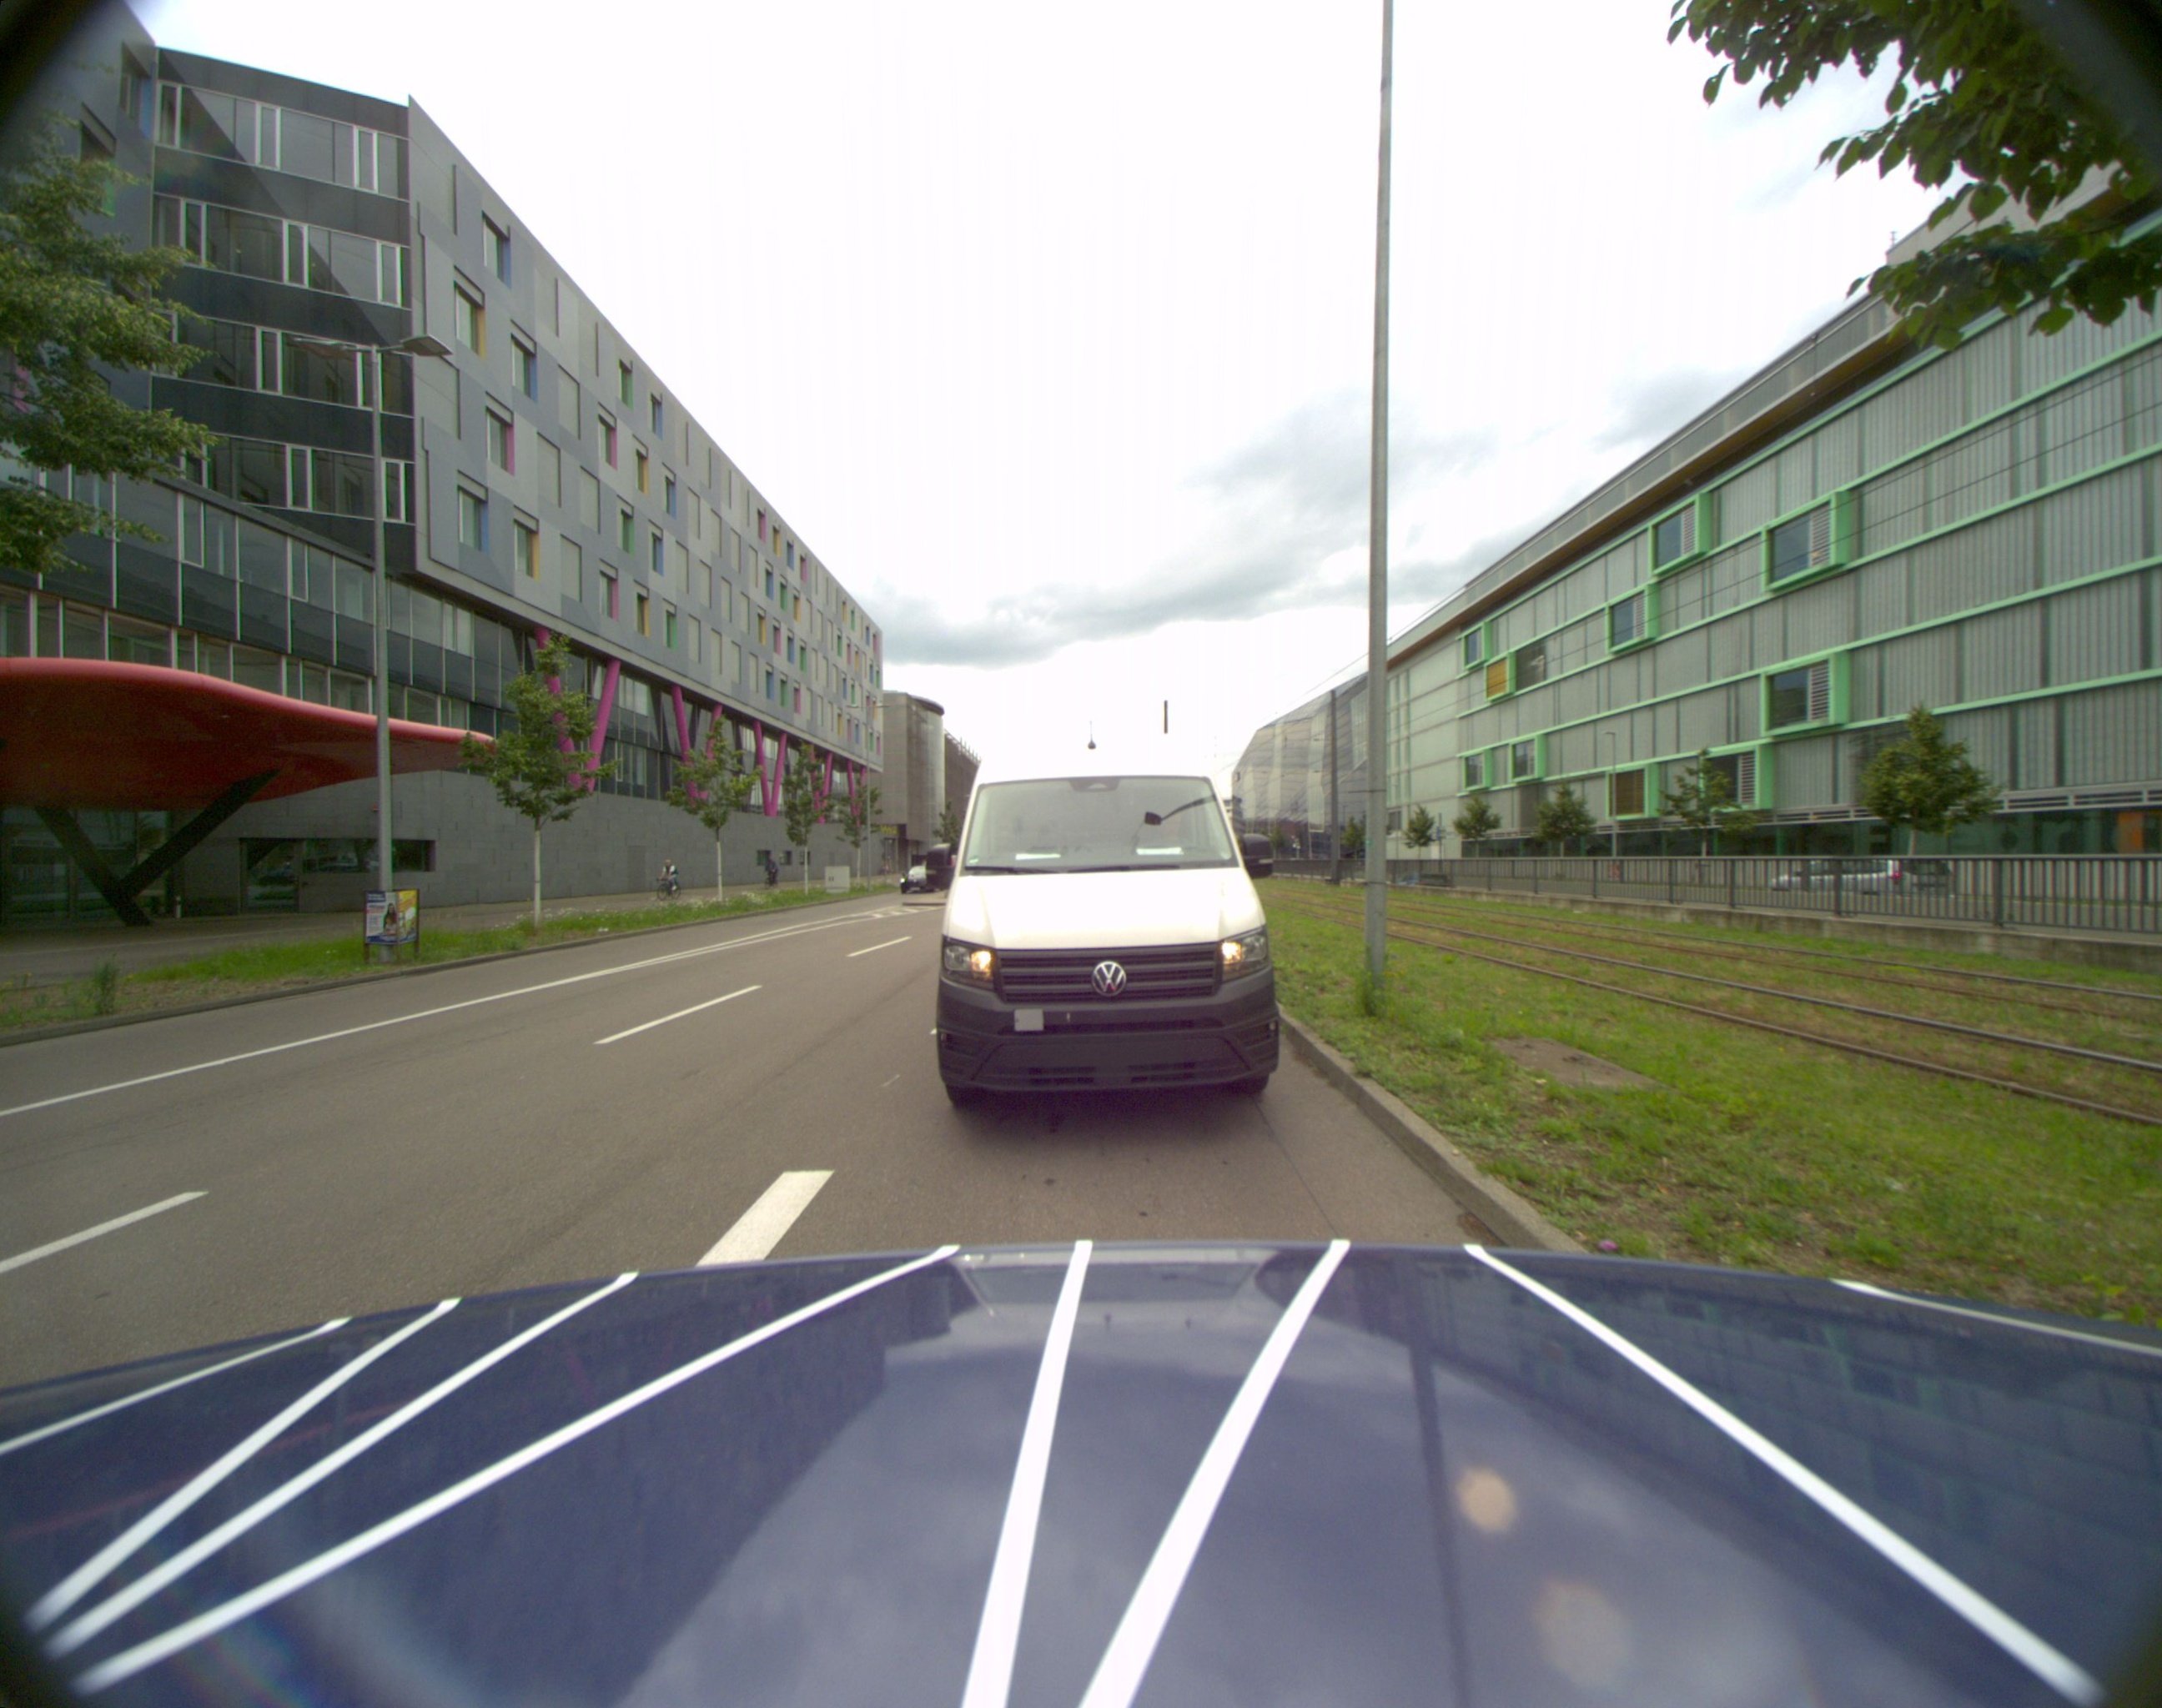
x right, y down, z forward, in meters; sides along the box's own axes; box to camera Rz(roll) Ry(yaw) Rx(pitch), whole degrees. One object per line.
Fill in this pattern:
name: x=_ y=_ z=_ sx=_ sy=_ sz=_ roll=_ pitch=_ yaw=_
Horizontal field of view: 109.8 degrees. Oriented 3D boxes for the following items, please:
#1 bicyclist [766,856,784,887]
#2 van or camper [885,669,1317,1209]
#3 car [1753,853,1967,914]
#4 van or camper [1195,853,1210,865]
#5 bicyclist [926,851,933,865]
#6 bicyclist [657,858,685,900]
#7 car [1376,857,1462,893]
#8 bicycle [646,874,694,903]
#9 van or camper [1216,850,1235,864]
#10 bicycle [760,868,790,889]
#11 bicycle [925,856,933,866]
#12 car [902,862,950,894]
bicyclist: x=-18.256 y=1.025 z=45.388 sx=0.784 sy=1.790 sz=0.705 roll=-2 pitch=-4 yaw=0
van or camper: x=0.101 y=0.417 z=6.194 sx=2.043 sy=2.572 sz=5.041 roll=-1 pitch=0 yaw=0
car: x=23.635 y=0.812 z=23.356 sx=1.801 sy=1.562 sz=4.577 roll=-3 pitch=1 yaw=-1
van or camper: x=24.133 y=1.023 z=151.160 sx=2.178 sy=2.273 sz=6.507 roll=-2 pitch=0 yaw=1
bicyclist: x=-19.265 y=0.542 z=96.413 sx=0.772 sy=1.776 sz=0.974 roll=-1 pitch=0 yaw=-5
bicyclist: x=-17.886 y=1.087 z=33.147 sx=0.784 sy=1.792 sz=0.705 roll=-2 pitch=0 yaw=0
car: x=16.101 y=0.968 z=36.525 sx=1.969 sy=1.579 sz=4.688 roll=-1 pitch=0 yaw=-1
bicycle: x=-17.883 y=1.483 z=33.161 sx=0.801 sy=1.151 sz=2.345 roll=-2 pitch=-1 yaw=0
van or camper: x=24.240 y=0.506 z=127.465 sx=2.178 sy=2.273 sz=5.359 roll=-1 pitch=0 yaw=1
bicycle: x=-18.245 y=1.463 z=45.364 sx=0.801 sy=1.150 sz=2.346 roll=-2 pitch=-4 yaw=0
bicycle: x=-19.238 y=0.870 z=96.116 sx=0.785 sy=1.187 sz=2.220 roll=-1 pitch=0 yaw=-4
car: x=-8.215 y=1.232 z=40.580 sx=1.567 sy=1.453 sz=4.342 roll=-3 pitch=0 yaw=1
